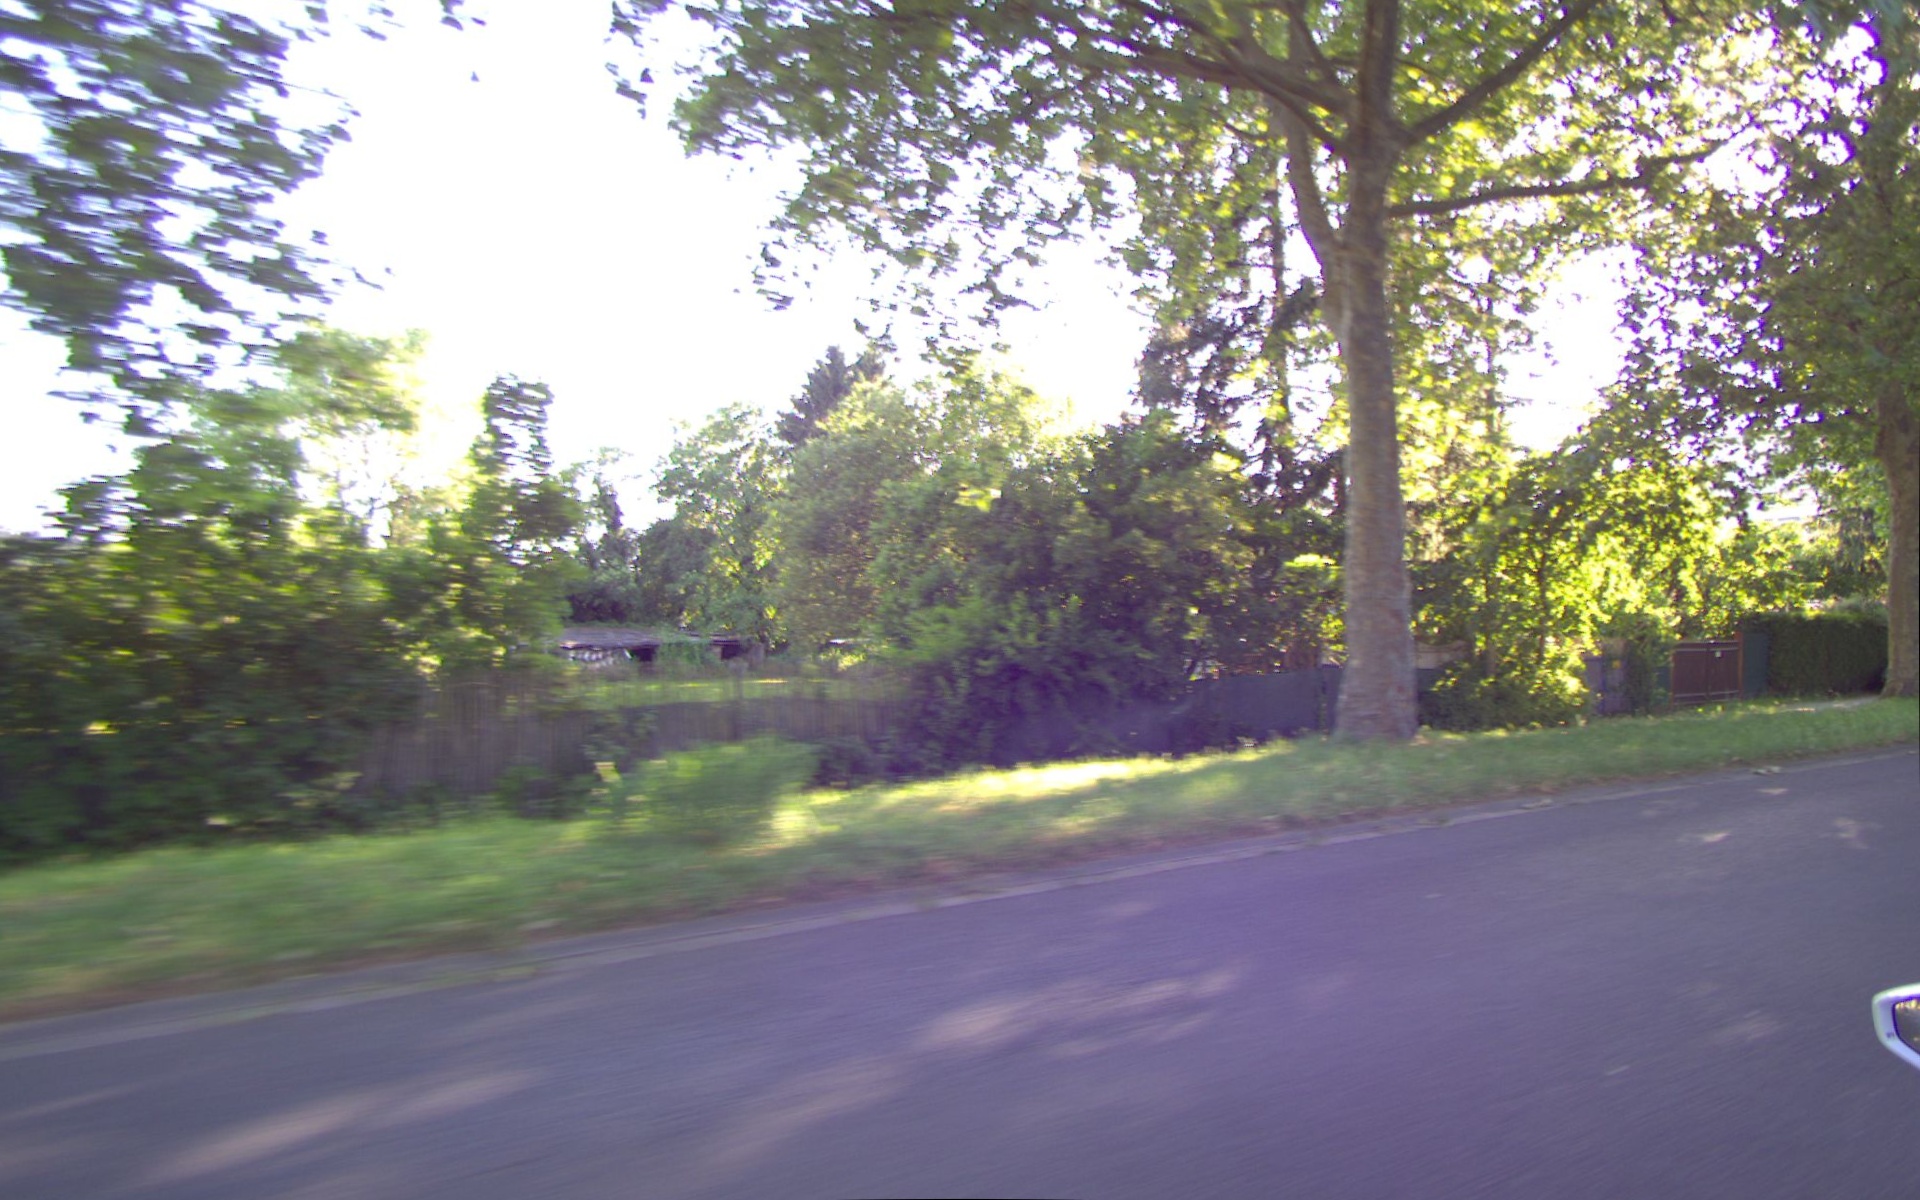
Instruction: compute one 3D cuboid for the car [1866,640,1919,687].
[{"bbox_3d":[30.313,1.954,31.541,3.955,1.321,1.743,0,-1,-32],"label":"car"}]
